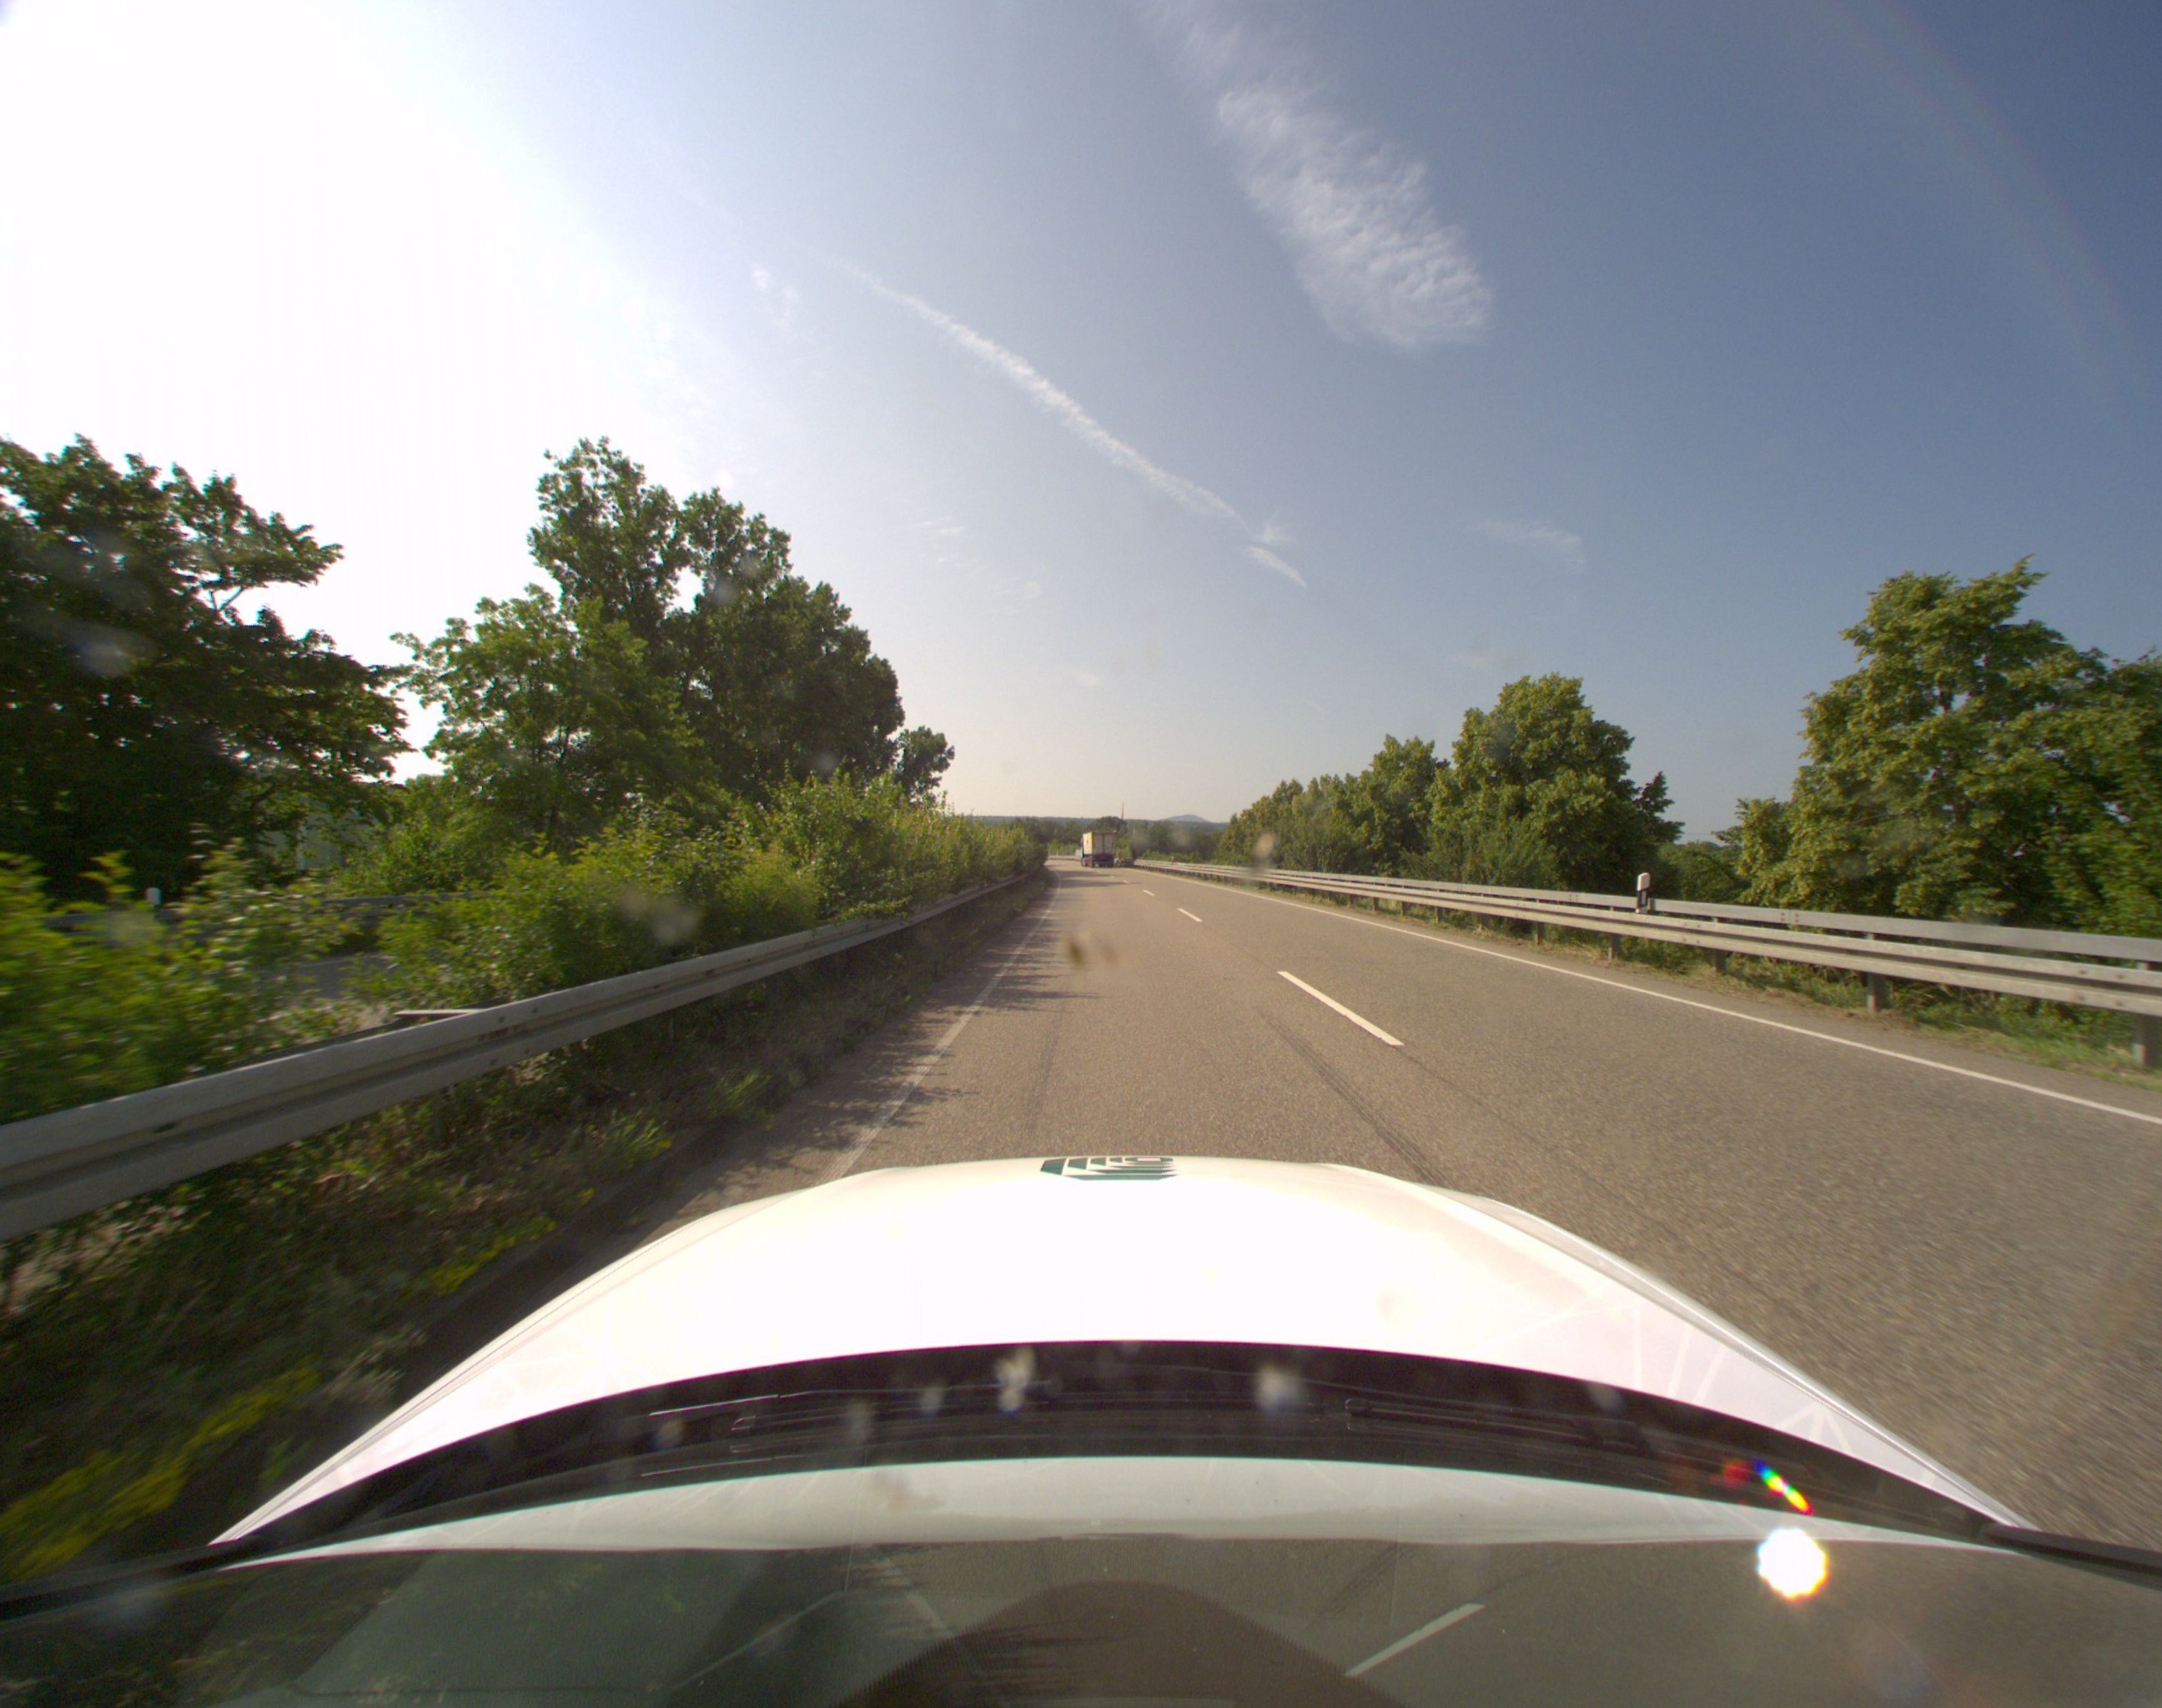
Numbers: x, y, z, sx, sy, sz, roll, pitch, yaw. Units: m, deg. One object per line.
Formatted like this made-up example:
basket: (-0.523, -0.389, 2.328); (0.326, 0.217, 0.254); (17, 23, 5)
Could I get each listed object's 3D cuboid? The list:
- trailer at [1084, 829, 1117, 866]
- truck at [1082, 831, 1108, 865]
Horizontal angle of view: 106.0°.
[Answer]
trailer: (2.063, -0.711, 90.239); (2.674, 3.907, 9.658); (0, 0, -4)
truck: (1.596, -0.749, 96.185); (2.654, 3.896, 5.639); (0, 0, -4)
